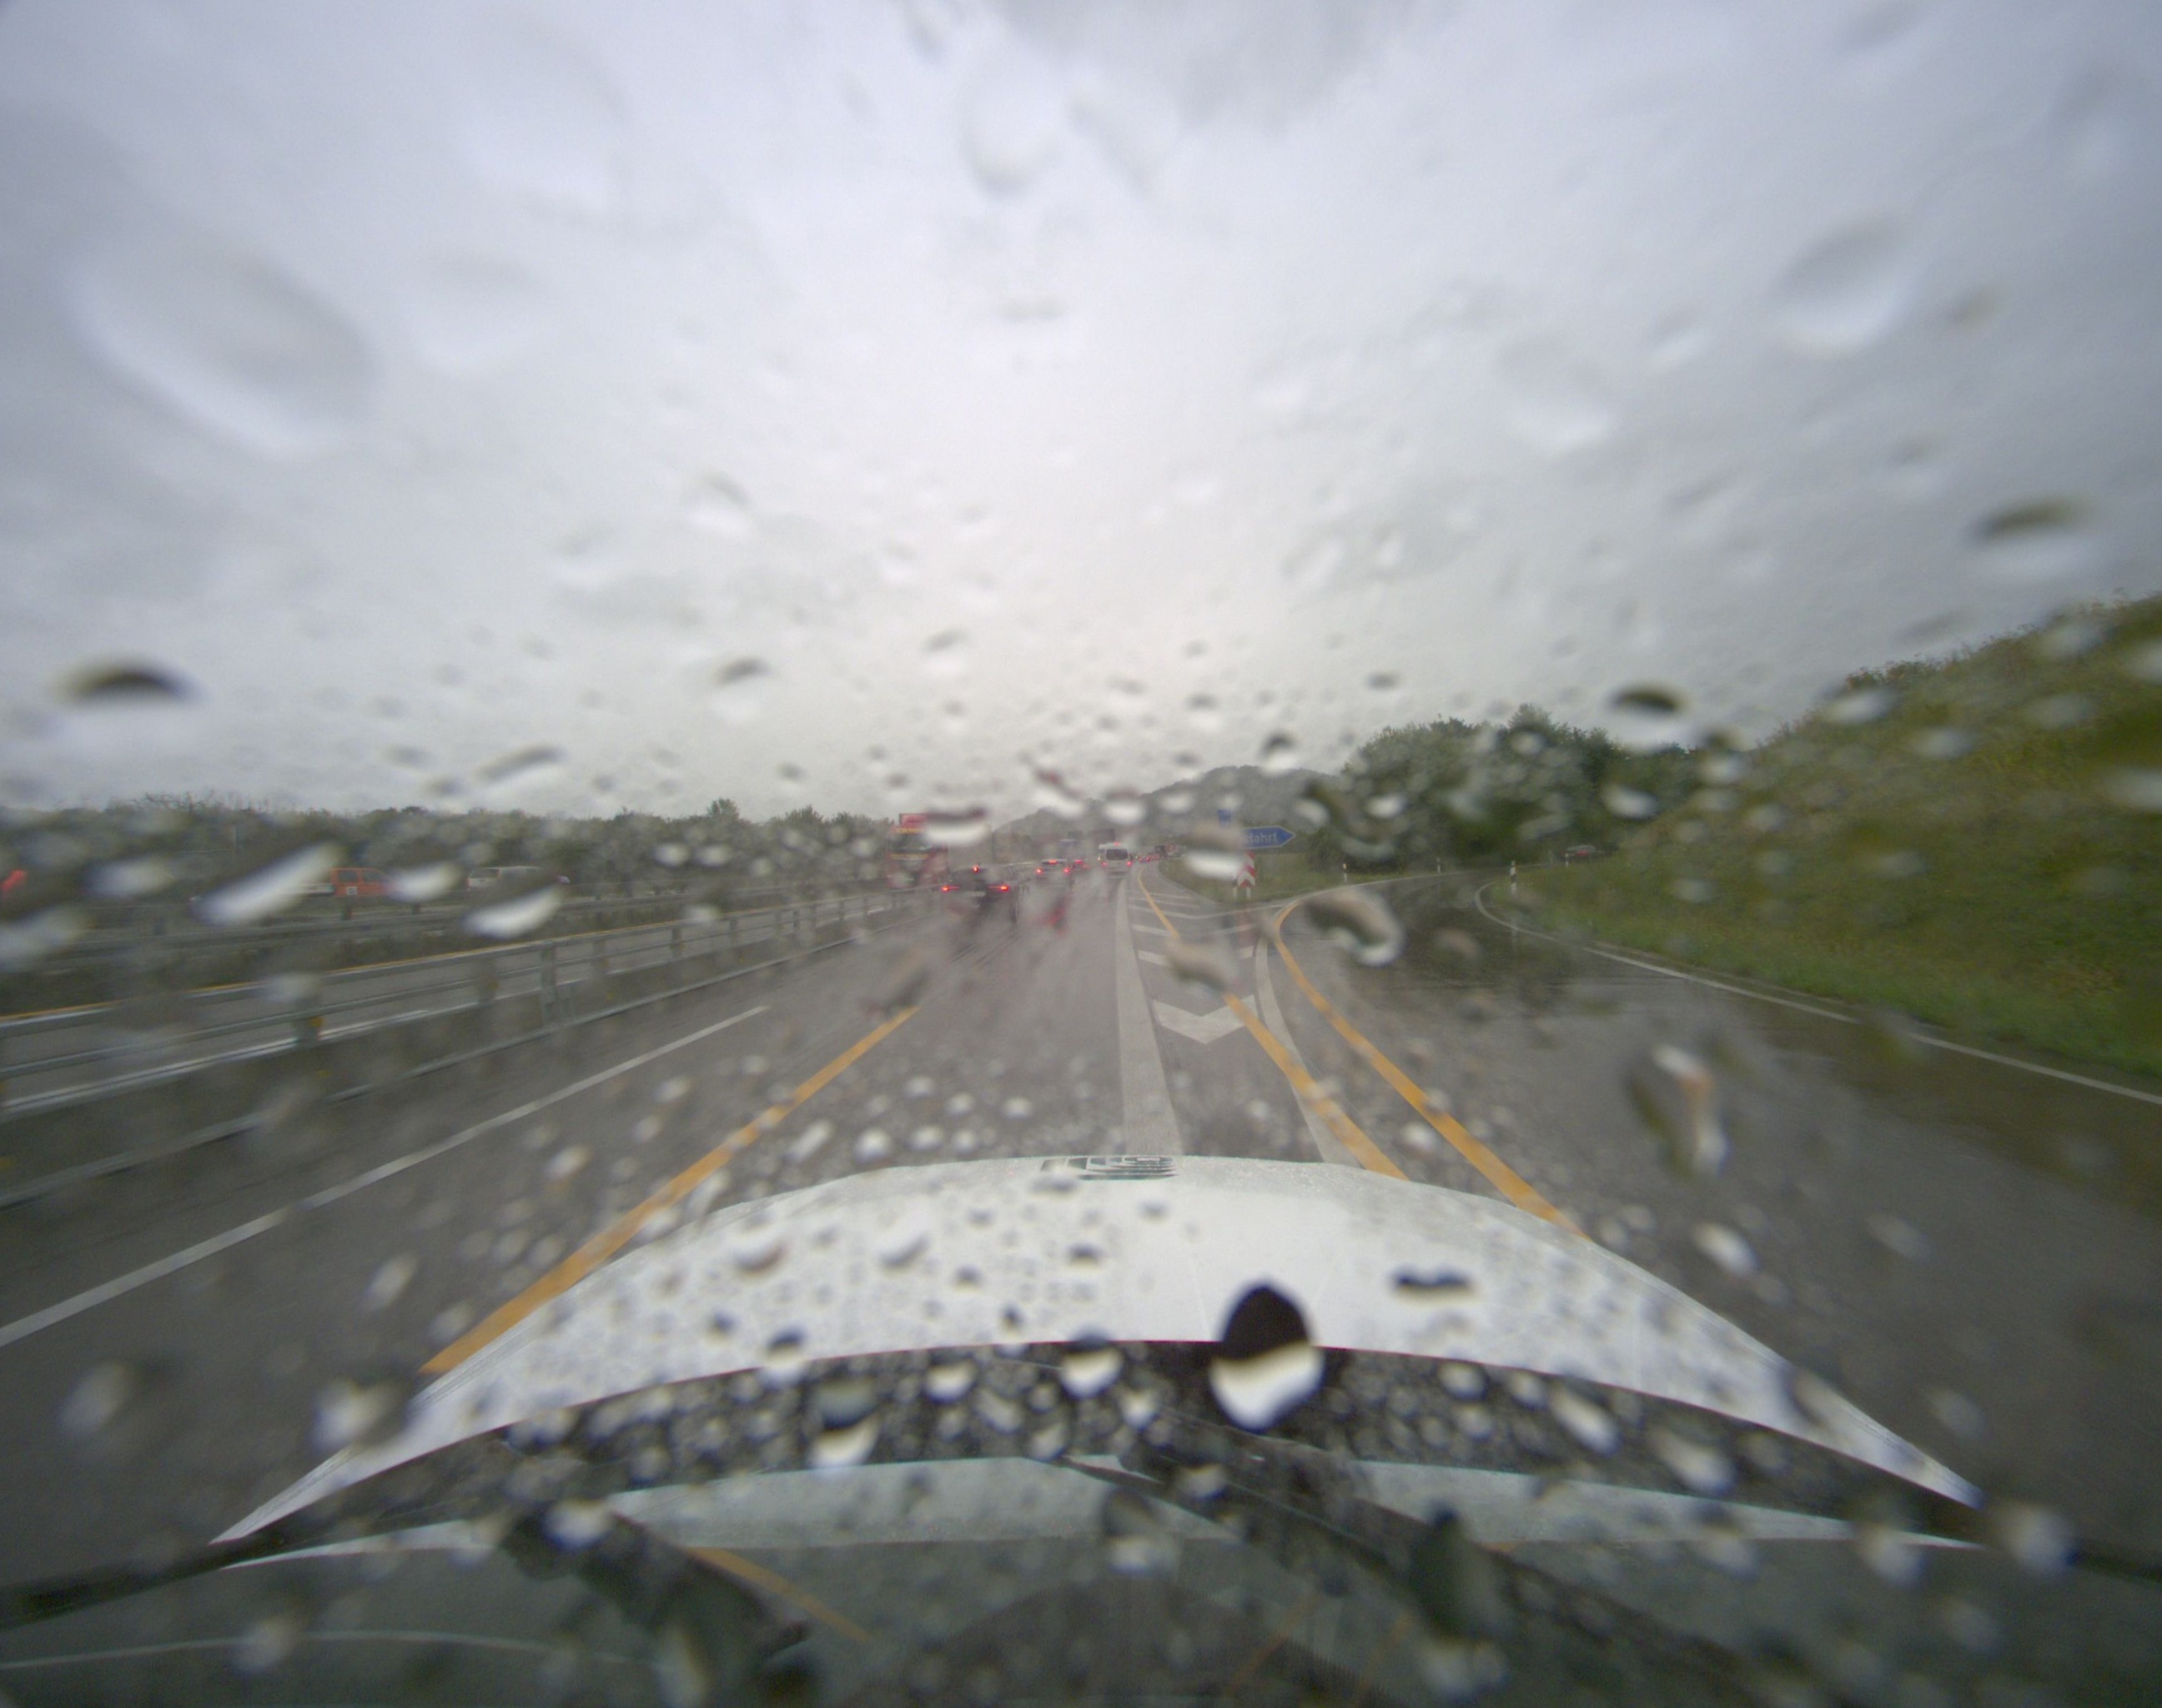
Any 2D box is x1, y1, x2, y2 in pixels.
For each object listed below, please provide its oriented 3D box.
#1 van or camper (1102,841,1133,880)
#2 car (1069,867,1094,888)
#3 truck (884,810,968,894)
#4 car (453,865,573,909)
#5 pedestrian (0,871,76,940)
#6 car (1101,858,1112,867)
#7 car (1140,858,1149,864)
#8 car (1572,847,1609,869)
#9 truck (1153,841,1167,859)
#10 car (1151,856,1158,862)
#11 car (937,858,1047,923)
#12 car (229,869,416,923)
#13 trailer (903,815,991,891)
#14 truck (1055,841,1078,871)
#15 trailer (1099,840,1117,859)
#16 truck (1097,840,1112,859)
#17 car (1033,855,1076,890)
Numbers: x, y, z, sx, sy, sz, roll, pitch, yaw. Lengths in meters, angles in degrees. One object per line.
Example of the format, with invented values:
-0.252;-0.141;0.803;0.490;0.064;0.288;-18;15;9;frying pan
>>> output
2.717;0.482;61.087;2.131;2.721;4.650;-2;0;2;van or camper
0.094;1.897;66.406;1.845;1.500;4.001;-2;0;2;car
-8.025;-0.052;43.048;2.631;4.048;7.291;0;-1;3;truck
-28.544;1.601;41.198;2.085;1.966;5.369;-2;0;3;car
-31.565;1.532;24.540;1.101;2.014;1.126;0;-1;0;pedestrian
3.101;1.031;100.032;1.257;1.078;3.257;-2;0;3;car
11.682;1.235;149.537;1.379;1.078;3.124;-2;0;2;car
36.211;0.254;57.866;1.684;1.508;3.656;-1;-1;41;car
21.725;-1.014;224.068;3.302;4.785;9.929;-1;-1;8;truck
16.035;1.072;177.779;1.378;1.256;3.126;-2;0;5;car
-2.107;0.829;20.699;1.930;1.427;4.765;-1;0;4;car
-33.801;1.803;36.550;2.341;2.076;5.610;-2;0;24;car
-7.671;-0.001;48.638;2.601;4.007;11.938;0;-1;3;trailer
-2.084;0.260;118.256;2.611;4.081;6.678;-1;0;5;truck
6.294;-1.055;187.037;2.479;4.049;12.618;-2;0;9;trailer
5.269;-0.956;180.079;2.469;4.031;6.464;-1;0;8;truck
-1.299;0.895;41.657;1.860;1.659;3.989;-2;0;2;car
